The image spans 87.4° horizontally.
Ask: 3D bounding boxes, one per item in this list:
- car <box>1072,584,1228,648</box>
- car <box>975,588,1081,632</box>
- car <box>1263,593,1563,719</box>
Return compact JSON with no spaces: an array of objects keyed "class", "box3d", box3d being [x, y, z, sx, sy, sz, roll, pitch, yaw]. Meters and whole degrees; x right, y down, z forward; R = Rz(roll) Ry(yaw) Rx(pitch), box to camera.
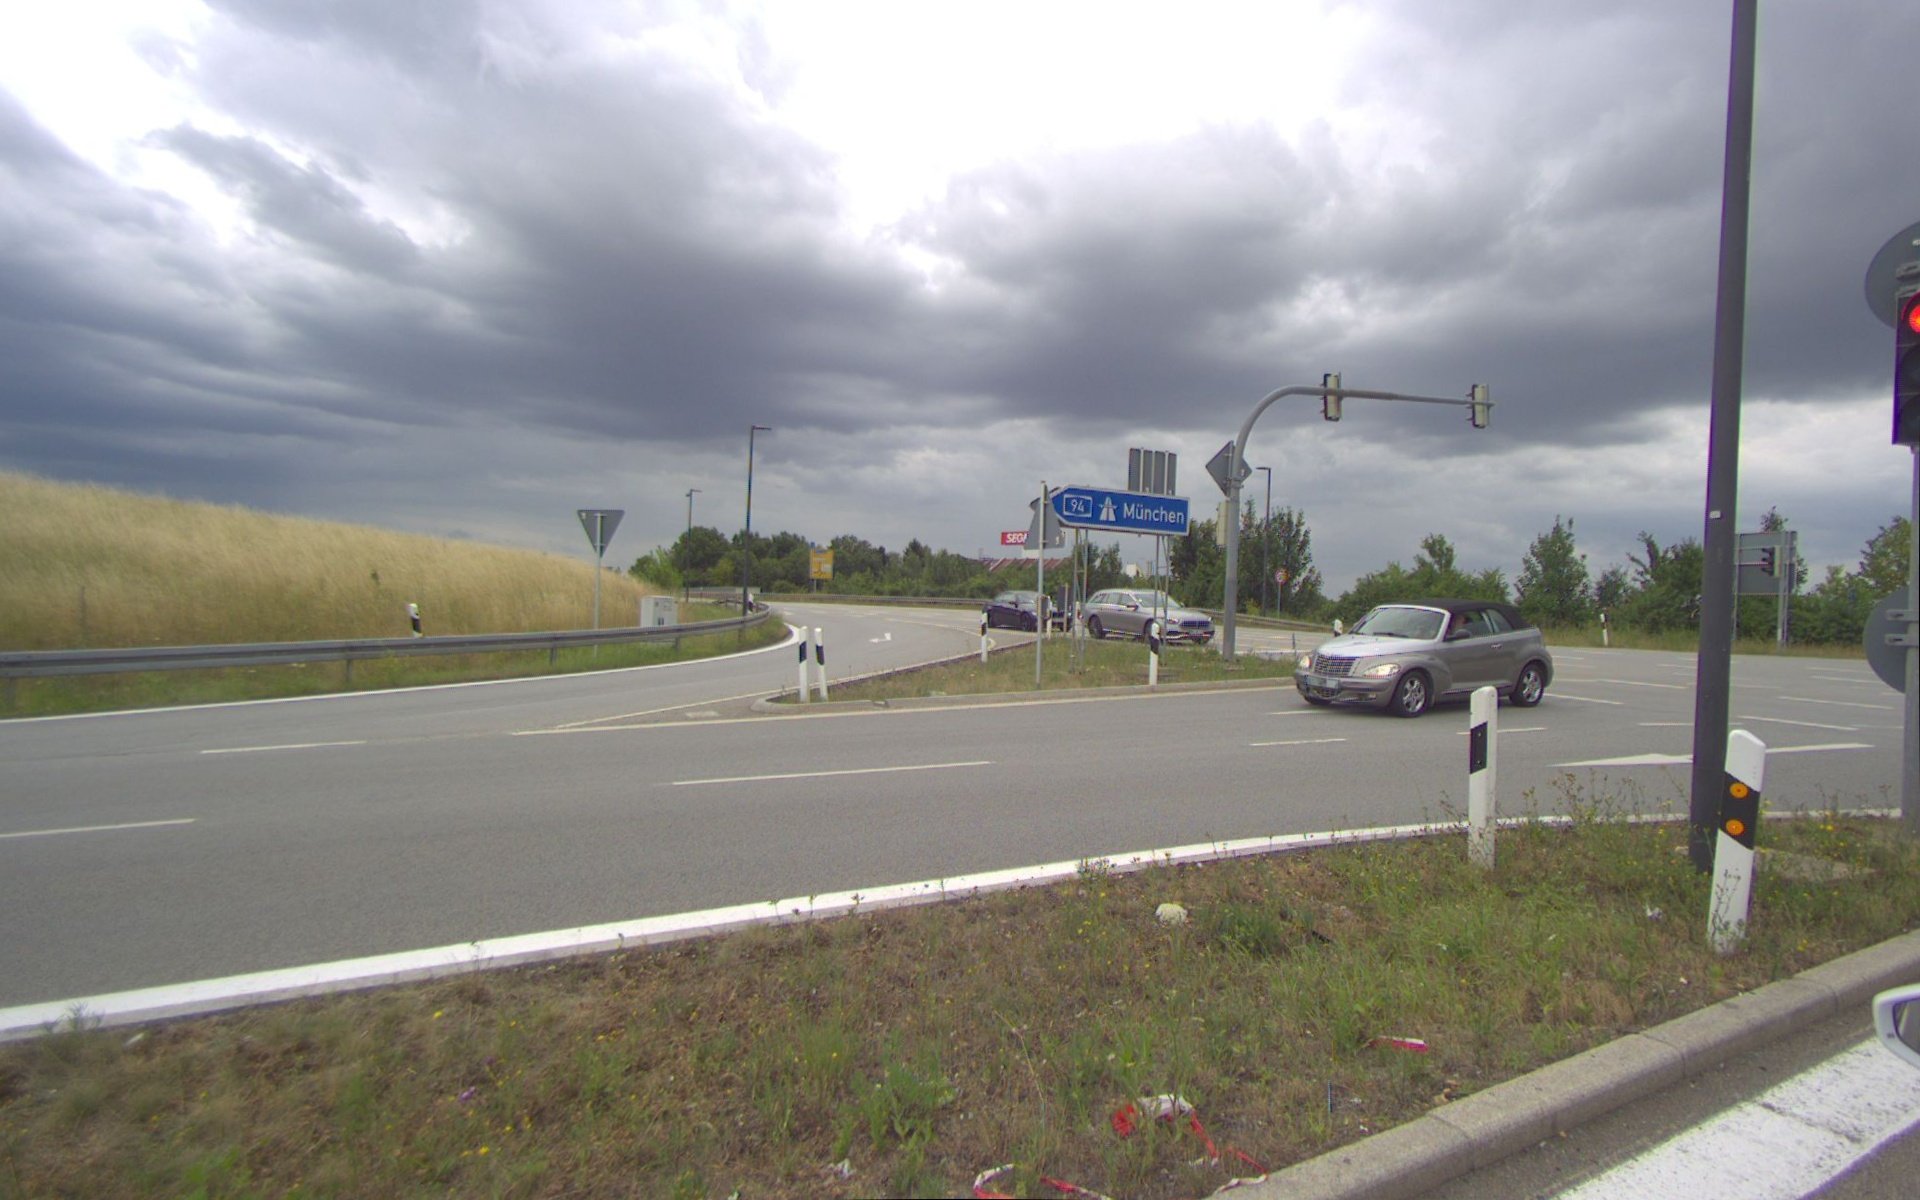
[{"class":"car","box3d":[5.376,0.384,29.176,1.895,1.632,4.915,0,1,-26]},{"class":"car","box3d":[2.343,0.315,35.856,1.690,1.429,4.643,2,0,-26]},{"class":"car","box3d":[6.500,0.699,14.327,4.192,1.541,1.801,0,1,-30]}]
